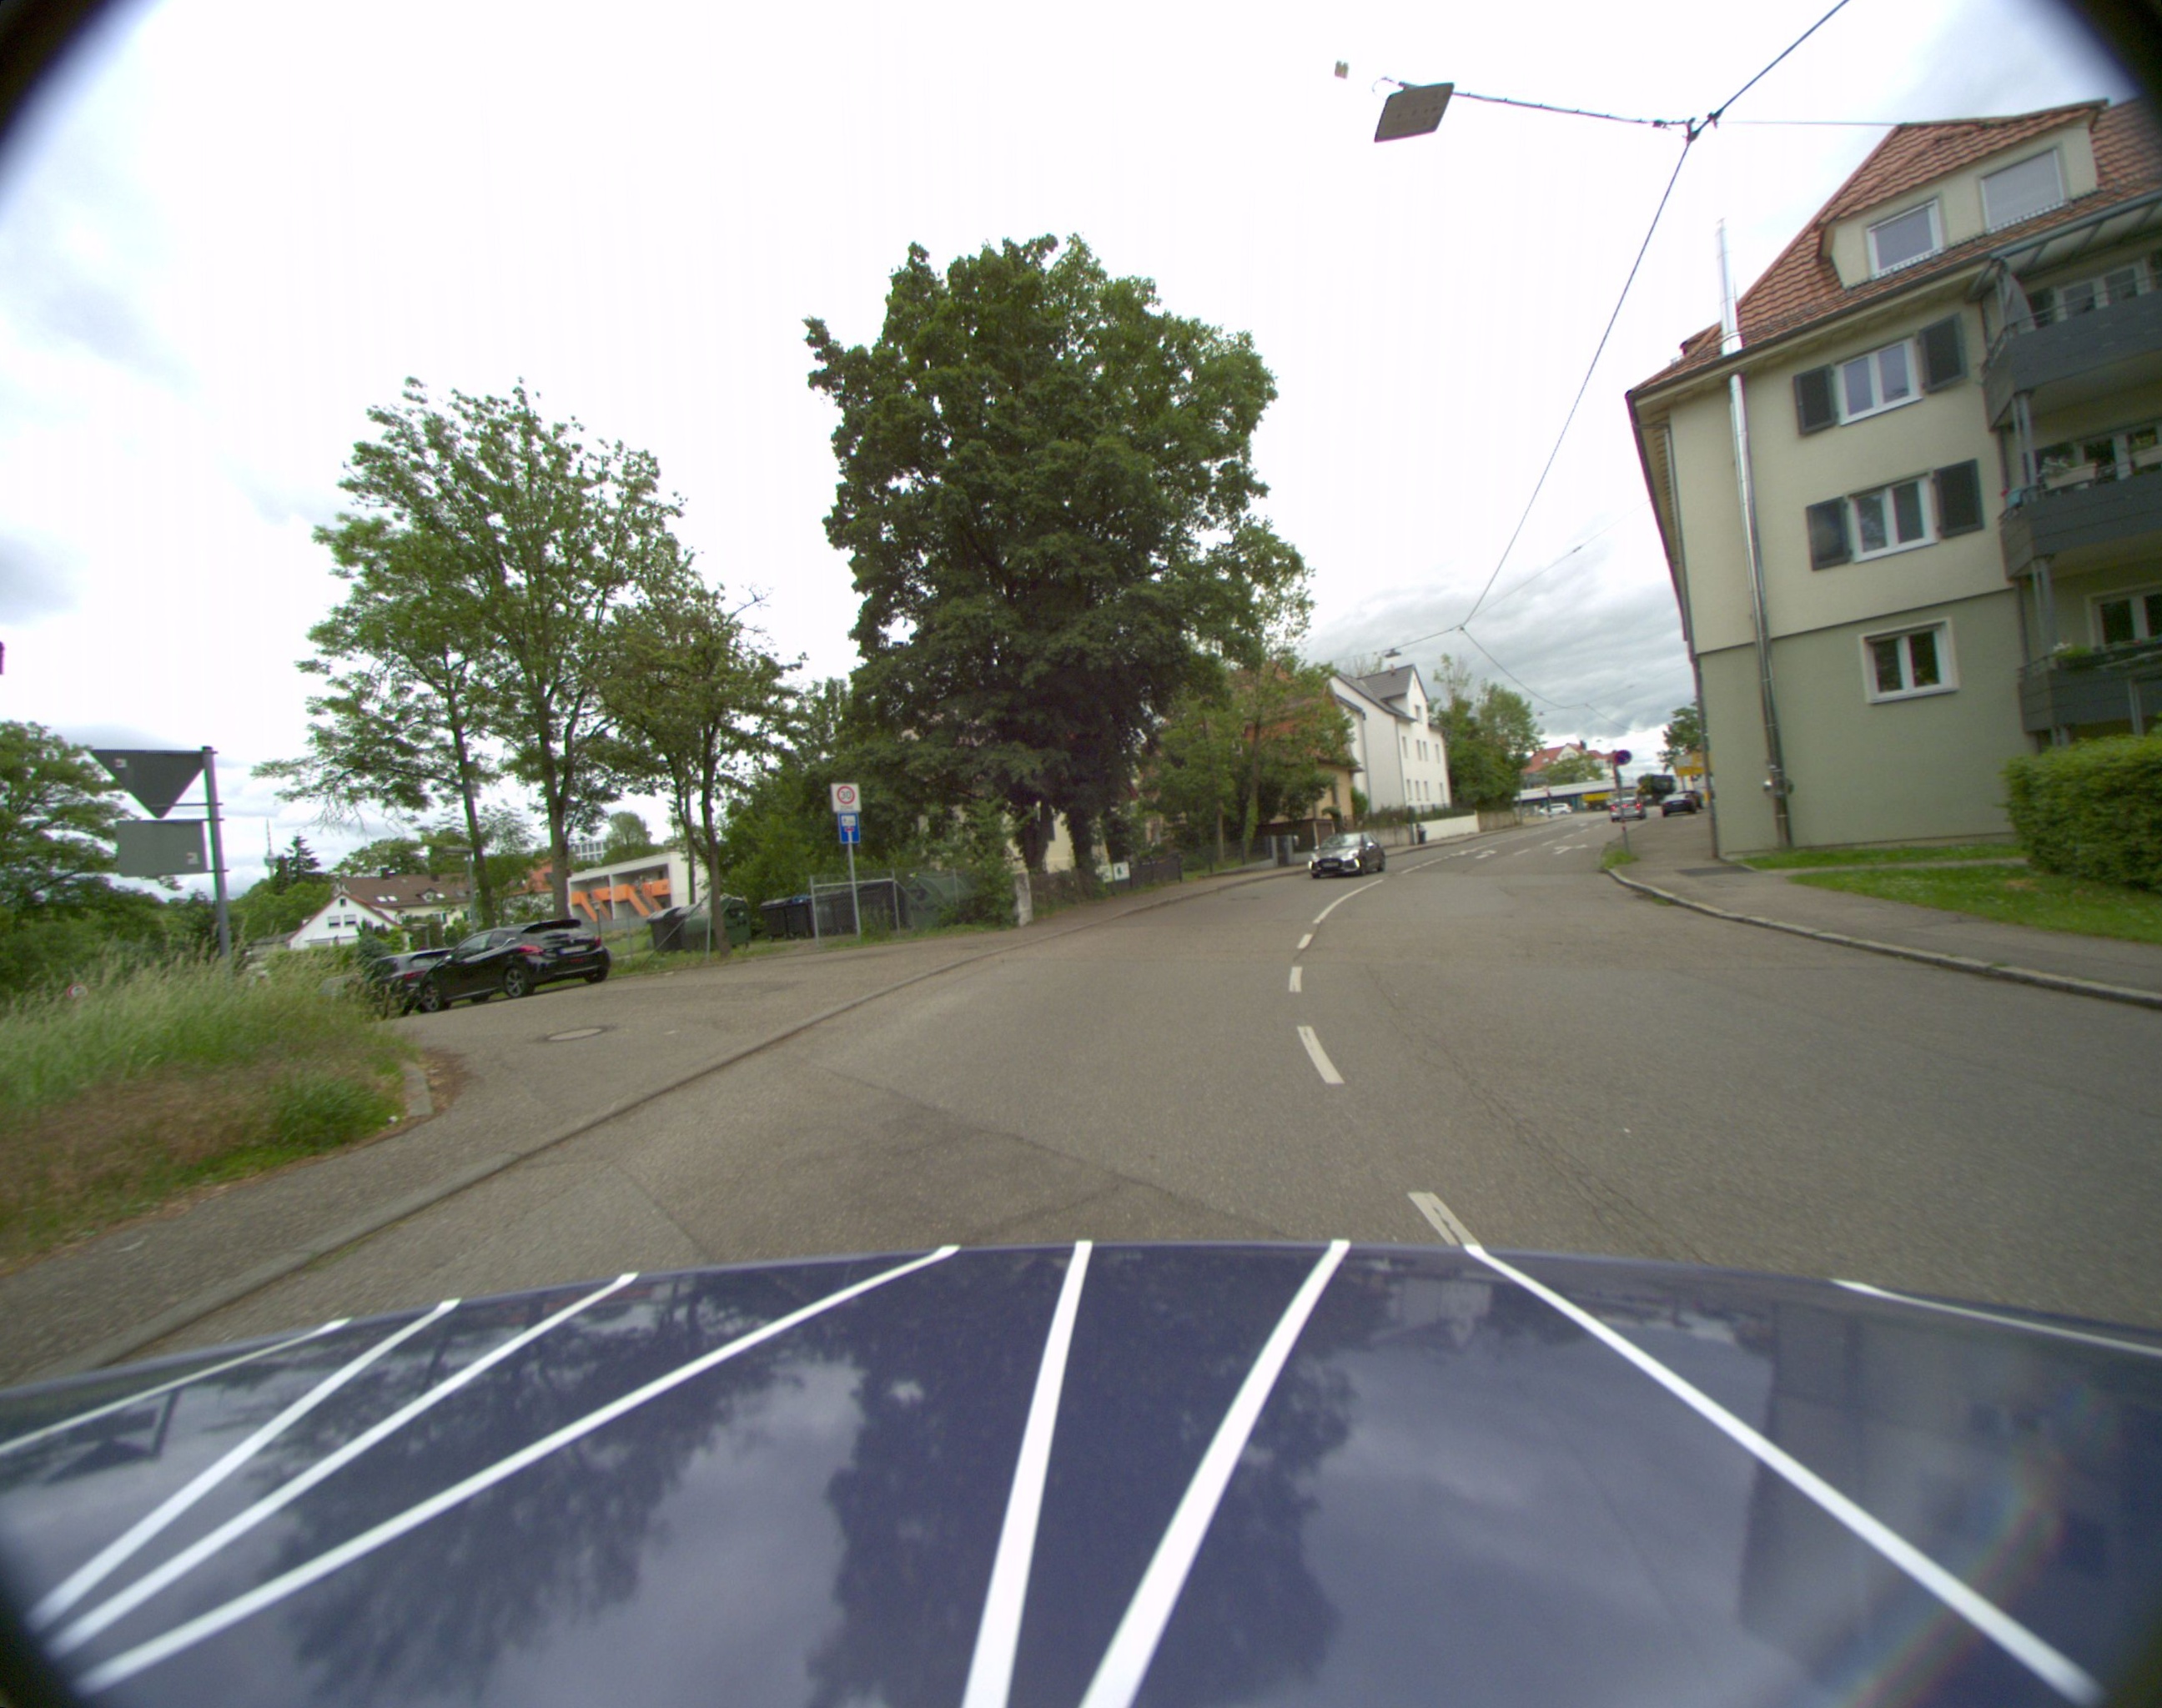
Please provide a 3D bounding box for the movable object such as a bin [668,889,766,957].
[{"bbox_3d":[-9.525,1.791,19.922,1.423,1.538,1.678,-5,0,30],"label":"movable object such as a bin"}]

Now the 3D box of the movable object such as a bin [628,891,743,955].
[{"bbox_3d":[-11.245,1.963,21.584,2.890,1.538,1.449,-5,1,30],"label":"movable object such as a bin"}]

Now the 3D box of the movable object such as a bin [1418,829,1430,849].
[{"bbox_3d":[21.633,-0.951,47.922,0.528,1.172,0.635,-1,3,40],"label":"movable object such as a bin"}]

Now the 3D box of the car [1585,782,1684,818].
[{"bbox_3d":[66.032,-6.441,90.840,9.219,3.208,2.003,-5,1,41],"label":"car"}]

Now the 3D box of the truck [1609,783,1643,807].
[{"bbox_3d":[55.961,-6.064,77.955,2.122,2.189,6.600,-4,1,42],"label":"truck"}]

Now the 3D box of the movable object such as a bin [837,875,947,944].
[{"bbox_3d":[-5.685,1.662,22.965,2.105,1.776,2.211,-5,1,33],"label":"movable object such as a bin"}]

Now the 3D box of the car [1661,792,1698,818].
[{"bbox_3d":[40.146,-3.301,50.947,1.712,1.395,4.853,-6,0,40],"label":"car"}]

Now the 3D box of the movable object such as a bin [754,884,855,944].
[{"bbox_3d":[-9.457,2.053,26.043,2.230,1.722,2.211,-5,0,33],"label":"movable object such as a bin"}]

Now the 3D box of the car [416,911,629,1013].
[{"bbox_3d":[-11.498,2.215,15.656,3.665,1.390,1.834,-10,-1,24],"label":"car"}]

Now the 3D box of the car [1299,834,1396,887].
[{"bbox_3d":[9.022,0.190,25.532,1.643,1.390,3.788,-5,0,42],"label":"car"}]

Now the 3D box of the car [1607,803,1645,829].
[{"bbox_3d":[37.886,-2.674,52.804,1.723,1.595,3.984,-4,0,41],"label":"car"}]

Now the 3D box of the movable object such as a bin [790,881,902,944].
[{"bbox_3d":[-7.586,1.871,24.570,2.494,1.703,2.211,-5,0,33],"label":"movable object such as a bin"}]

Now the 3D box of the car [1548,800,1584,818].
[{"bbox_3d":[67.041,-6.223,104.997,3.990,2.002,2.003,-5,1,37],"label":"car"}]

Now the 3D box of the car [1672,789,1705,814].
[{"bbox_3d":[47.265,-4.094,59.077,1.824,1.623,4.704,-7,-1,39],"label":"car"}]
